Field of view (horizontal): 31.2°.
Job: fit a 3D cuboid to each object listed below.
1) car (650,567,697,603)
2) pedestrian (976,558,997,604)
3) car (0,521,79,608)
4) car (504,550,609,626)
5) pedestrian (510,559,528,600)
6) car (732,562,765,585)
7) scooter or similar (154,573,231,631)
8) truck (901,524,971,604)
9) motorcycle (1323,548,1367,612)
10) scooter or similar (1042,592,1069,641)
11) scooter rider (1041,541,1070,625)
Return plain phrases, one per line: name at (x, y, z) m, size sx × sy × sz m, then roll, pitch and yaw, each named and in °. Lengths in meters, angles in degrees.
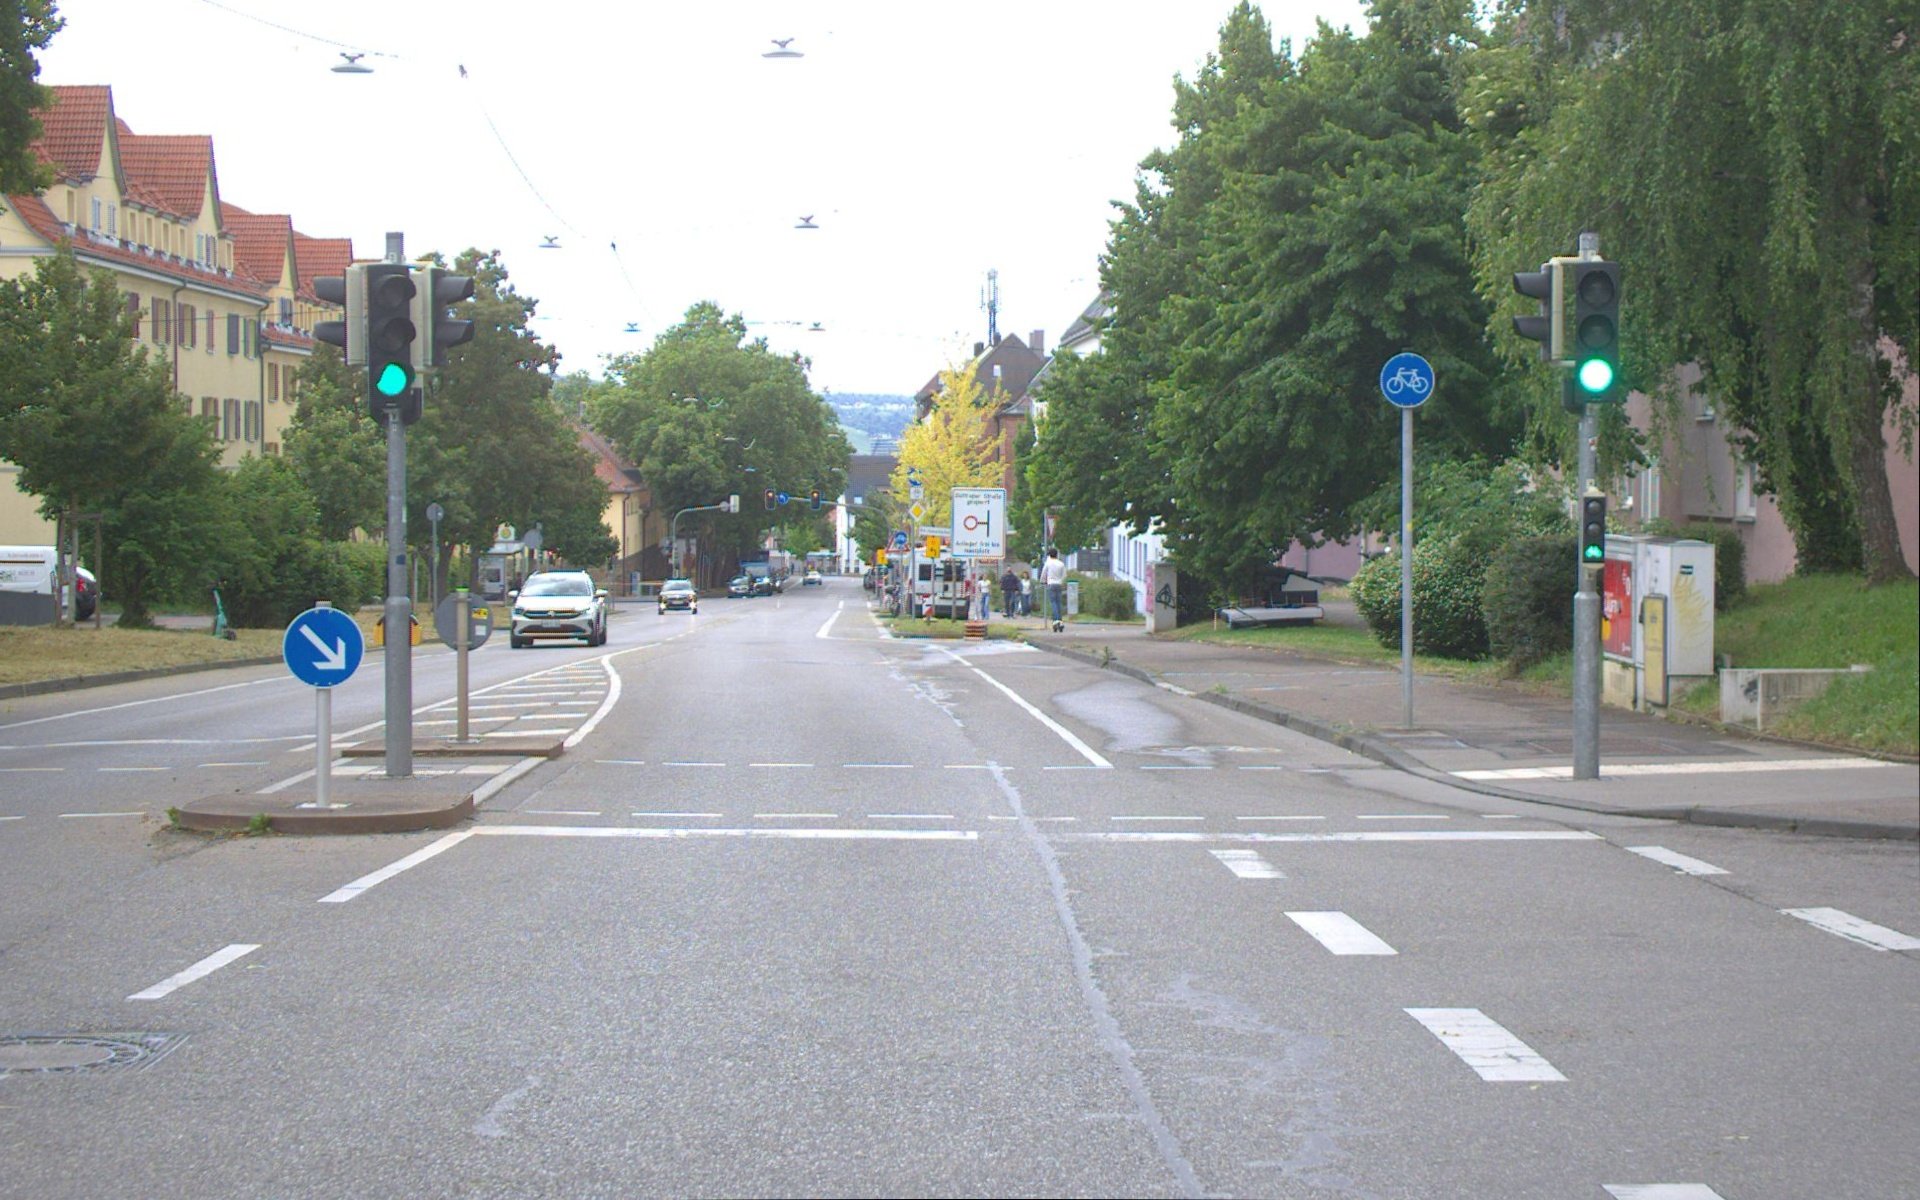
car at (-13.461, -0.723, 161.758) m, size 1.899 × 1.614 × 4.362 m, roll 1°, pitch 1°, yaw -1°
pedestrian at (0.936, -0.675, 121.734) m, size 0.576 × 1.638 × 0.561 m, roll 0°, pitch -1°, yaw -16°
car at (-25.678, -0.935, 89.976) m, size 4.717 × 2.246 × 1.995 m, roll 0°, pitch 0°, yaw -1°
car at (-8.160, -0.254, 69.763) m, size 1.801 × 1.459 × 4.030 m, roll -1°, pitch 1°, yaw -3°
pedestrian at (-18.562, -0.875, 144.645) m, size 0.597 × 1.721 × 0.861 m, roll 1°, pitch 0°, yaw 1°
car at (-13.701, -1.750, 222.641) m, size 1.756 × 1.467 × 4.306 m, roll -1°, pitch 1°, yaw 1°
scooter or similar at (-14.497, 0.039, 64.917) m, size 1.369 × 1.082 × 0.467 m, roll 0°, pitch 1°, yaw -6°
truck at (-0.818, -1.185, 113.975) m, size 2.052 × 2.557 × 5.690 m, roll 1°, pitch 1°, yaw -3°
motorcycle at (9.601, -0.501, 85.818) m, size 0.731 × 1.564 × 2.550 m, roll 1°, pitch 1°, yaw -1°
scooter or similar at (2.293, 0.387, 82.928) m, size 0.490 × 1.159 × 2.075 m, roll 1°, pitch 1°, yaw -2°
scooter rider at (2.298, -0.415, 82.946) m, size 0.625 × 2.007 × 0.758 m, roll 1°, pitch 0°, yaw -3°
